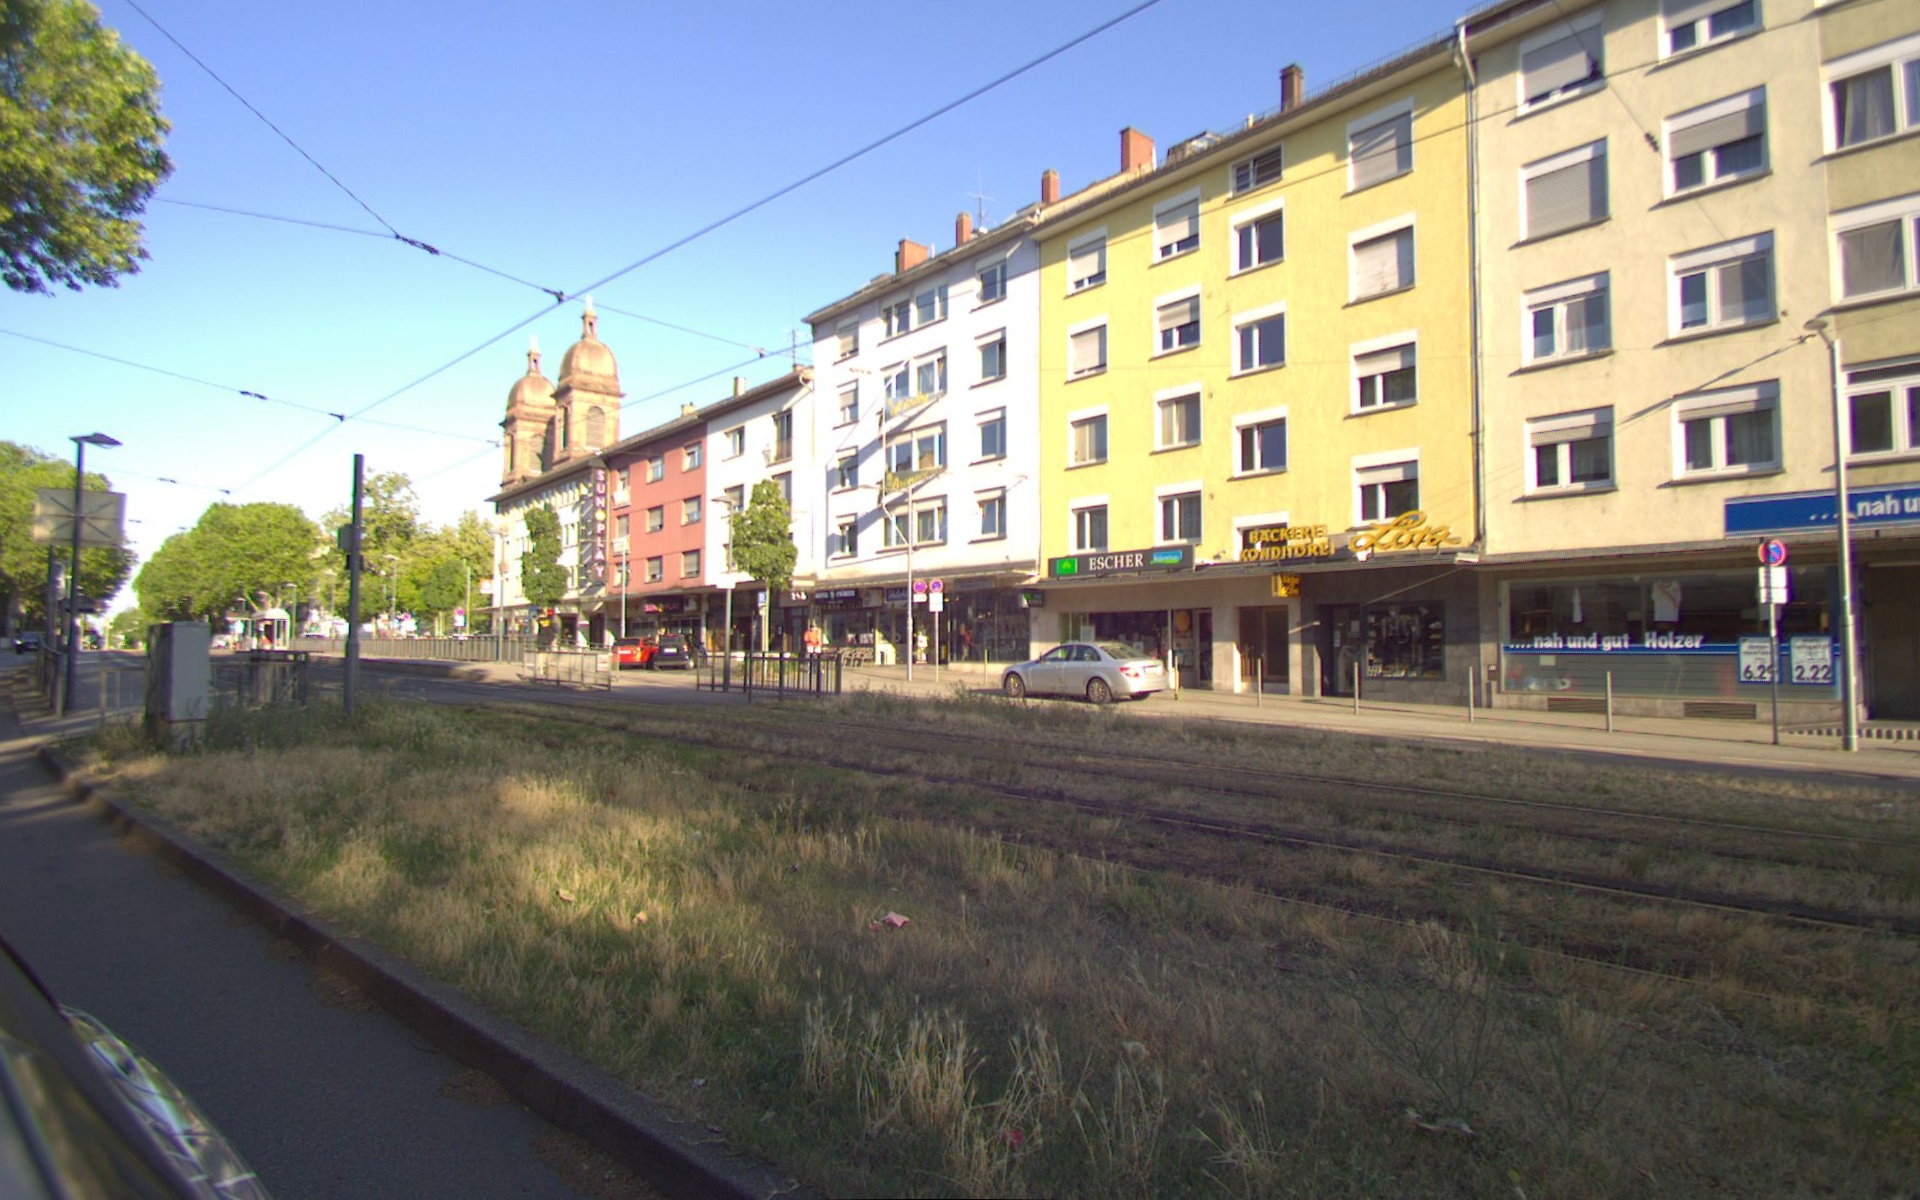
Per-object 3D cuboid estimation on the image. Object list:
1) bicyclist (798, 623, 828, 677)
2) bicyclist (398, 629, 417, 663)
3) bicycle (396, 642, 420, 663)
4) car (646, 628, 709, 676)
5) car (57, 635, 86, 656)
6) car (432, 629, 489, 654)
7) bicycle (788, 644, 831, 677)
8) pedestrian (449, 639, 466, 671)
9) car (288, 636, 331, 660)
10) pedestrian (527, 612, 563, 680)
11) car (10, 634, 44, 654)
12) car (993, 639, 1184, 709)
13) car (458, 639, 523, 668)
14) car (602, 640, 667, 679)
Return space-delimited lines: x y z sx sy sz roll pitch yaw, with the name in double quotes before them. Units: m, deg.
"bicyclist" -5.314 1.797 36.558 0.683 1.901 1.060 2 -3 -32
"bicyclist" -33.353 2.792 61.101 0.754 2.029 0.912 3 -4 -42
"bicycle" -33.326 3.179 61.046 0.709 1.239 2.281 3 -4 -42
"car" -11.988 2.170 43.175 1.836 1.813 3.773 -1 0 -3
"car" -90.571 4.632 103.191 1.968 2.029 4.008 0 -1 -38
"car" -32.580 2.693 66.163 1.720 1.497 3.998 -1 -1 1
"bicycle" -5.472 2.187 36.769 0.696 1.168 2.204 2 -3 -33
"pedestrian" -29.423 3.224 59.263 0.757 1.801 0.726 0 -1 -41
"car" -49.783 3.673 77.447 1.970 1.730 4.440 3 -4 -43
"pedestrian" -11.702 1.294 28.531 0.590 1.863 0.733 -2 -4 43
"car" -67.998 3.196 73.740 4.002 1.409 1.694 -2 -1 45
"car" 3.093 1.747 25.023 1.970 1.489 4.414 0 -1 -44
"car" -27.997 3.158 60.484 1.845 1.541 3.996 -1 -1 3
"car" -14.374 2.594 44.826 1.836 1.502 3.773 -1 0 -3
